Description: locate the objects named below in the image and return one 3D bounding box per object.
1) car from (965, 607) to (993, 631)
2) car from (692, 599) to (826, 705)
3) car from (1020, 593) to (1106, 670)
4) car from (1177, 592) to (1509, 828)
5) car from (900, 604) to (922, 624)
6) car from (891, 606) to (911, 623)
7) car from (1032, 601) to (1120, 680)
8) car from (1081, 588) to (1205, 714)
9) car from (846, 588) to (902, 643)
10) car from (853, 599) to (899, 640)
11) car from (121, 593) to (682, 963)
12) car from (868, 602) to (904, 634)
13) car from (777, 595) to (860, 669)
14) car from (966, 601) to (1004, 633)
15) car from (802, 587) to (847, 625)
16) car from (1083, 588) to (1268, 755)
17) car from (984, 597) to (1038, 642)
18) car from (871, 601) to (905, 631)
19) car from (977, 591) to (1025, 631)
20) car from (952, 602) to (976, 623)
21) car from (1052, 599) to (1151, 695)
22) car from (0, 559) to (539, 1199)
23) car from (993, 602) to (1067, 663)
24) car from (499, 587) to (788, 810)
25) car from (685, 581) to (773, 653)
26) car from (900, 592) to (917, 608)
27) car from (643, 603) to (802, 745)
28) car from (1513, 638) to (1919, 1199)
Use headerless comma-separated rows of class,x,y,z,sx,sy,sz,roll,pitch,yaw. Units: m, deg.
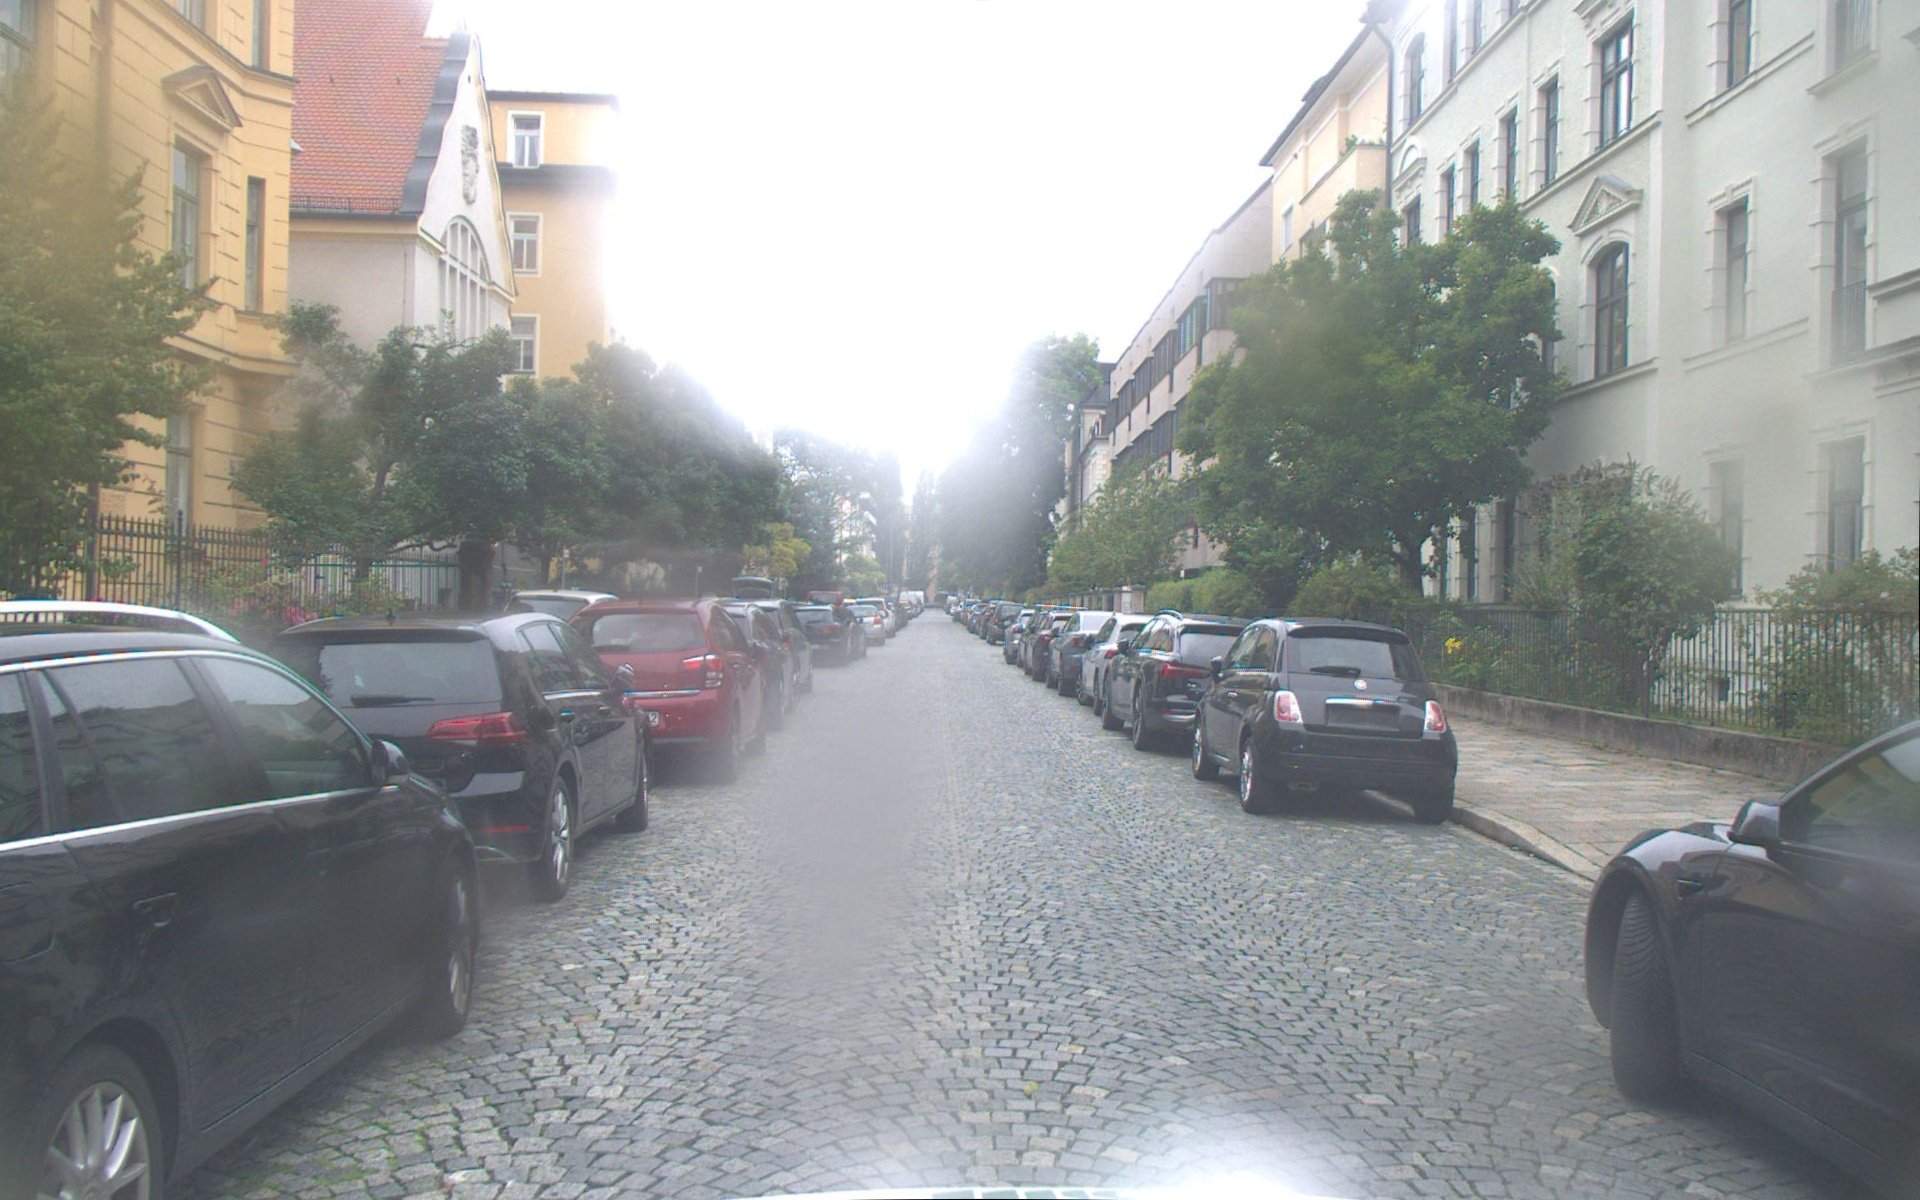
car,1.409,1.455,124.892,1.883,1.664,3.737,-3,0,-2
car,-3.092,0.776,26.002,1.626,1.561,3.484,0,0,1
car,2.422,0.730,39.540,1.627,1.664,3.446,-3,0,-2
car,3.095,0.830,14.247,1.882,1.664,4.046,2,0,0
car,-4.479,1.256,149.882,1.883,1.664,3.737,-3,0,-2
car,-5.960,1.463,167.983,1.883,1.664,3.737,-3,0,-2
car,2.374,0.810,34.518,1.626,1.481,3.449,-3,0,1
car,2.683,0.719,24.631,1.625,1.664,3.450,-3,0,5
car,-3.133,0.569,60.599,1.883,1.871,3.737,-3,0,-2
car,-3.723,0.865,73.557,1.883,1.664,3.737,-3,0,-2
car,-2.870,0.822,9.520,1.883,1.573,3.999,-3,0,-1
car,-4.149,0.998,93.385,1.883,1.664,3.737,-3,0,-2
car,-3.366,0.745,39.801,1.884,1.664,3.736,1,-1,-4
car,1.361,0.944,91.253,1.883,1.664,3.737,-3,0,-2
car,-6.452,0.297,79.195,1.883,1.664,3.737,-3,0,-2
car,2.285,0.725,18.310,1.626,1.664,3.539,0,0,1
car,2.024,0.764,66.797,1.883,1.664,3.737,-3,0,-2
car,-4.271,0.933,98.540,1.883,1.664,3.737,-3,0,-2
car,1.815,0.509,74.741,1.883,1.664,3.737,-3,0,-2
car,0.350,1.074,142.193,1.883,1.664,3.737,-3,0,-2
car,2.473,0.799,29.462,1.564,1.529,3.263,-3,0,3
car,-2.477,0.771,4.253,1.692,1.567,4.335,-3,0,-1
car,1.849,0.869,44.566,1.627,1.491,3.446,-3,0,-2
car,-2.706,0.796,15.016,1.883,1.664,3.804,-3,0,-1
car,-5.579,0.408,40.255,1.743,1.664,3.737,1,-1,-3
car,-5.684,-0.024,182.603,1.883,1.664,3.737,-3,0,-2
car,-2.740,0.826,19.515,1.402,1.485,2.650,-3,0,0
car,3.108,0.916,3.987,1.883,1.459,4.800,3,0,0
